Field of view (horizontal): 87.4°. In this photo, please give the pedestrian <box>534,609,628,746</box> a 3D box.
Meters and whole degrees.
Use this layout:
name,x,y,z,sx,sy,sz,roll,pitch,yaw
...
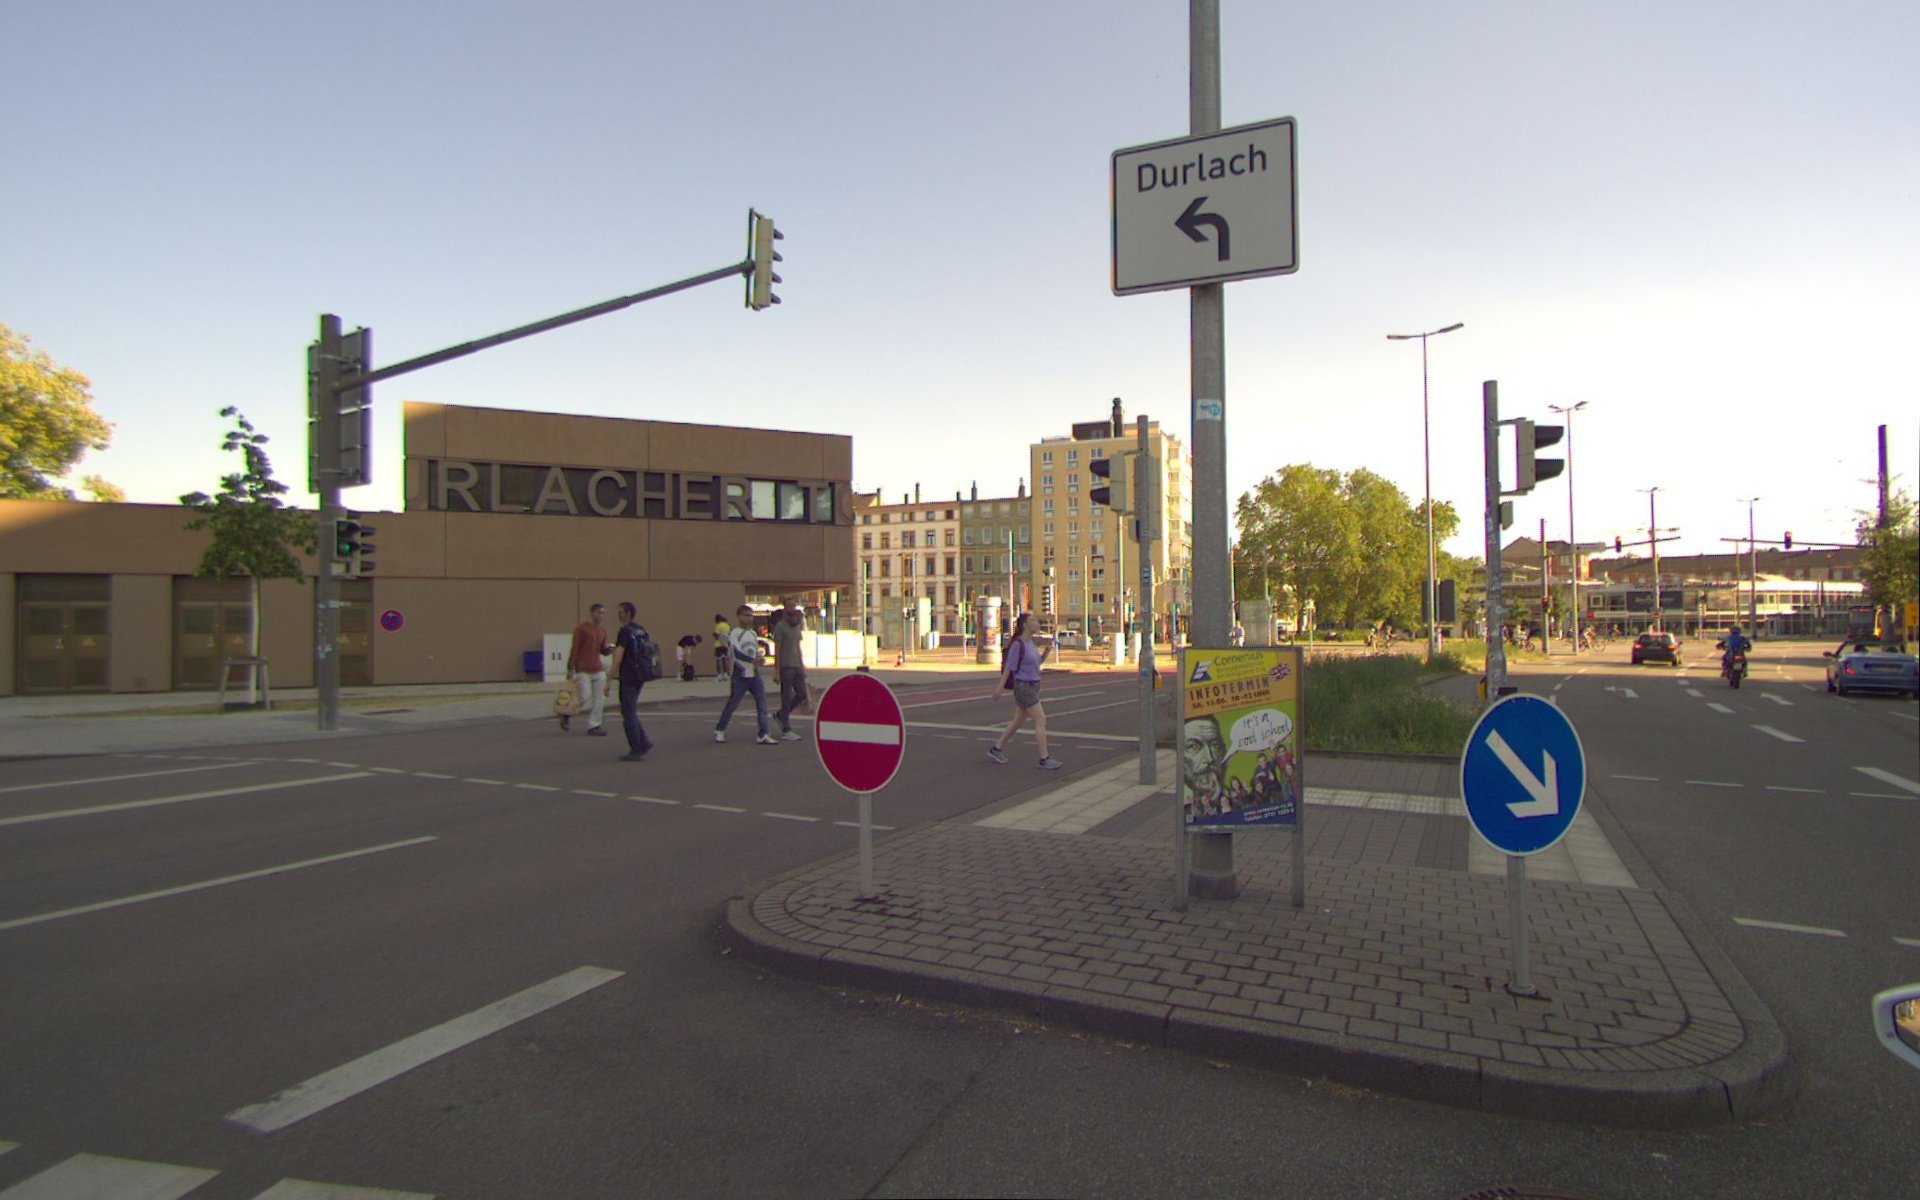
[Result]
name,x,y,z,sx,sy,sz,roll,pitch,yaw
pedestrian,-5.095,1.017,13.512,0.911,1.764,0.786,-2,-2,29

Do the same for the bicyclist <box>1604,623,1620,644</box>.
name,x,y,z,sx,sy,sz,roll,pitch,yaw
bicyclist,61.076,3.134,94.077,1.053,1.926,1.122,-1,0,22

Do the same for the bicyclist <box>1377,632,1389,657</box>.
name,x,y,z,sx,sy,sz,roll,pitch,yaw
bicyclist,29.431,3.116,69.886,0.733,1.713,0.860,-1,0,18

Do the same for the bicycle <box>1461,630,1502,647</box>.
name,x,y,z,sx,sy,sz,roll,pitch,yaw
bicycle,36.250,2.665,69.839,2.453,1.148,0.860,-1,0,22

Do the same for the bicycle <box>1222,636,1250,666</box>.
name,x,y,z,sx,sy,sz,roll,pitch,yaw
bicycle,12.406,2.274,45.048,0.728,1.271,2.554,-1,-2,27

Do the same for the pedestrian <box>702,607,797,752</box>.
name,x,y,z,sx,sy,sz,roll,pitch,yaw
pedestrian,-2.677,0.991,12.780,0.911,1.764,0.756,-2,-2,29

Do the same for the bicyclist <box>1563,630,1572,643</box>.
name,x,y,z,sx,sy,sz,roll,pitch,yaw
bicyclist,56.211,3.379,92.979,0.702,1.158,0.836,-1,0,29

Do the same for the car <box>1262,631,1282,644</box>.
name,x,y,z,sx,sy,sz,roll,pitch,yaw
car,37.309,4.467,120.130,1.817,1.471,3.998,-1,-2,23

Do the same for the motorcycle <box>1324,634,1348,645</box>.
name,x,y,z,sx,sy,sz,roll,pitch,yaw
motorcycle,38.805,4.068,103.661,2.250,1.068,0.686,-1,0,27

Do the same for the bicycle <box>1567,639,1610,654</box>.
name,x,y,z,sx,sy,sz,roll,pitch,yaw
bicycle,40.772,3.035,65.149,2.260,0.918,0.859,-1,0,25

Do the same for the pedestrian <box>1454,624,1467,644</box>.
name,x,y,z,sx,sy,sz,roll,pitch,yaw
pedestrian,48.338,3.293,96.943,0.977,1.840,0.916,-1,0,38

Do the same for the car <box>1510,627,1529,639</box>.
name,x,y,z,sx,sy,sz,roll,pitch,yaw
car,76.438,4.527,137.264,1.966,1.555,3.988,-1,0,34

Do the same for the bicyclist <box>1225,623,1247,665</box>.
name,x,y,z,sx,sy,sz,roll,pitch,yaw
bicyclist,12.364,1.957,44.985,0.728,1.856,1.012,-1,-2,27

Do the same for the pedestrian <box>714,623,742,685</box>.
name,x,y,z,sx,sy,sz,roll,pitch,yaw
pedestrian,-6.616,1.535,28.656,0.545,1.711,0.632,-1,0,-38

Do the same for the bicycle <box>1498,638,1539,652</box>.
name,x,y,z,sx,sy,sz,roll,pitch,yaw
bicycle,37.598,3.009,67.636,2.258,0.918,0.860,-1,0,21

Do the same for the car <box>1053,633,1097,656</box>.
name,x,y,z,sx,sy,sz,roll,pitch,yaw
car,10.542,4.078,92.131,3.673,2.040,2.000,-1,0,20

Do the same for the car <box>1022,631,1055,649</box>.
name,x,y,z,sx,sy,sz,roll,pitch,yaw
car,8.333,4.251,107.074,2.055,1.742,3.992,-1,0,-19

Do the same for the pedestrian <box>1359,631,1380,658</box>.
name,x,y,z,sx,sy,sz,roll,pitch,yaw
pedestrian,25.359,2.734,62.188,1.076,1.628,0.697,-1,0,29

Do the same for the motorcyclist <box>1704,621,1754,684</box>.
name,x,y,z,sx,sy,sz,roll,pitch,yaw
motorcyclist,21.831,1.485,28.513,1.083,1.744,0.932,-1,-2,41

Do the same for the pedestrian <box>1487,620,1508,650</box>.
name,x,y,z,sx,sy,sz,roll,pitch,yaw
pedestrian,30.813,2.023,57.575,0.812,1.693,0.699,0,-2,1

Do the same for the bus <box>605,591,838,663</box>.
name,x,y,z,sx,sy,sz,roll,pitch,yaw
bus,-12.993,1.622,55.291,12.022,3.359,3.232,3,-6,-25

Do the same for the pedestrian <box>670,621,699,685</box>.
name,x,y,z,sx,sy,sz,roll,pitch,yaw
pedestrian,-7.859,1.497,28.599,0.656,1.754,0.731,-1,0,-26

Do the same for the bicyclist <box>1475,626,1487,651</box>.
name,x,y,z,sx,sy,sz,roll,pitch,yaw
bicyclist,36.221,2.656,69.854,0.639,1.713,0.860,-1,0,22

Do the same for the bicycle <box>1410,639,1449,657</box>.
name,x,y,z,sx,sy,sz,roll,pitch,yaw
bicycle,32.740,3.344,70.025,2.456,1.148,0.859,-1,0,29

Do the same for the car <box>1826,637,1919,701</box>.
name,x,y,z,sx,sy,sz,roll,pitch,yaw
car,23.592,1.724,25.980,1.780,1.463,3.958,0,-1,41

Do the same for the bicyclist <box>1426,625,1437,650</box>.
name,x,y,z,sx,sy,sz,roll,pitch,yaw
bicyclist,32.860,2.578,69.950,0.639,1.713,0.859,-1,0,28

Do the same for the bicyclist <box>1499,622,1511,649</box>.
name,x,y,z,sx,sy,sz,roll,pitch,yaw
bicyclist,36.841,2.427,67.903,0.573,1.801,0.867,-1,-2,21

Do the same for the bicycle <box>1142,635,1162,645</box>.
name,x,y,z,sx,sy,sz,roll,pitch,yaw
bicycle,21.134,4.381,110.719,2.009,1.104,0.777,-1,-2,21

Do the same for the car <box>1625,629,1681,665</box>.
name,x,y,z,sx,sy,sz,roll,pitch,yaw
car,31.175,2.075,45.139,1.779,1.463,3.960,0,-1,39

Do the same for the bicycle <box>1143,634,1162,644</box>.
name,x,y,z,sx,sy,sz,roll,pitch,yaw
bicycle,21.382,4.377,111.533,2.009,1.104,0.777,-1,-2,21

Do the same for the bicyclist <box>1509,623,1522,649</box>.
name,x,y,z,sx,sy,sz,roll,pitch,yaw
bicyclist,37.428,2.453,67.700,0.638,1.713,0.860,-1,0,20

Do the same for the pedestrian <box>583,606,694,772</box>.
name,x,y,z,sx,sy,sz,roll,pitch,yaw
pedestrian,-3.494,0.936,10.921,0.884,1.707,0.747,-1,-1,29

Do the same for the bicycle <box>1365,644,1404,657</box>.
name,x,y,z,sx,sy,sz,roll,pitch,yaw
bicycle,29.518,3.524,69.862,2.451,0.886,0.860,-1,0,19

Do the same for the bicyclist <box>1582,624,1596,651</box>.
name,x,y,z,sx,sy,sz,roll,pitch,yaw
bicyclist,40.783,2.438,65.142,0.639,1.713,0.859,-1,0,24

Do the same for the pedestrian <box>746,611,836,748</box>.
name,x,y,z,sx,sy,sz,roll,pitch,yaw
pedestrian,-2.270,1.043,13.503,0.911,1.764,0.756,-2,-2,29

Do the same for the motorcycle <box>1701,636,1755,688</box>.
name,x,y,z,sx,sy,sz,roll,pitch,yaw
motorcycle,21.863,1.740,28.564,1.083,1.395,2.640,-1,-2,40

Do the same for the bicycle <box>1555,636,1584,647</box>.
name,x,y,z,sx,sy,sz,roll,pitch,yaw
bicycle,56.341,3.828,92.919,2.263,0.972,0.858,-3,0,30

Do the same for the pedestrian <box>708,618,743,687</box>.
name,x,y,z,sx,sy,sz,roll,pitch,yaw
pedestrian,-6.489,1.445,27.801,0.707,1.860,0.636,0,0,40

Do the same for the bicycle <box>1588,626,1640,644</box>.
name,x,y,z,sx,sy,sz,roll,pitch,yaw
bicycle,61.222,3.268,94.023,3.922,1.712,1.138,-1,0,22

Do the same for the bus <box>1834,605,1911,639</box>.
name,x,y,z,sx,sy,sz,roll,pitch,yaw
bus,86.591,2.017,95.258,9.456,2.922,2.345,-1,0,-28

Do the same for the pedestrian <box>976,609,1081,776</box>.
name,x,y,z,sx,sy,sz,roll,pitch,yaw
pedestrian,0.768,0.998,11.195,0.911,1.764,0.756,-2,-2,29
